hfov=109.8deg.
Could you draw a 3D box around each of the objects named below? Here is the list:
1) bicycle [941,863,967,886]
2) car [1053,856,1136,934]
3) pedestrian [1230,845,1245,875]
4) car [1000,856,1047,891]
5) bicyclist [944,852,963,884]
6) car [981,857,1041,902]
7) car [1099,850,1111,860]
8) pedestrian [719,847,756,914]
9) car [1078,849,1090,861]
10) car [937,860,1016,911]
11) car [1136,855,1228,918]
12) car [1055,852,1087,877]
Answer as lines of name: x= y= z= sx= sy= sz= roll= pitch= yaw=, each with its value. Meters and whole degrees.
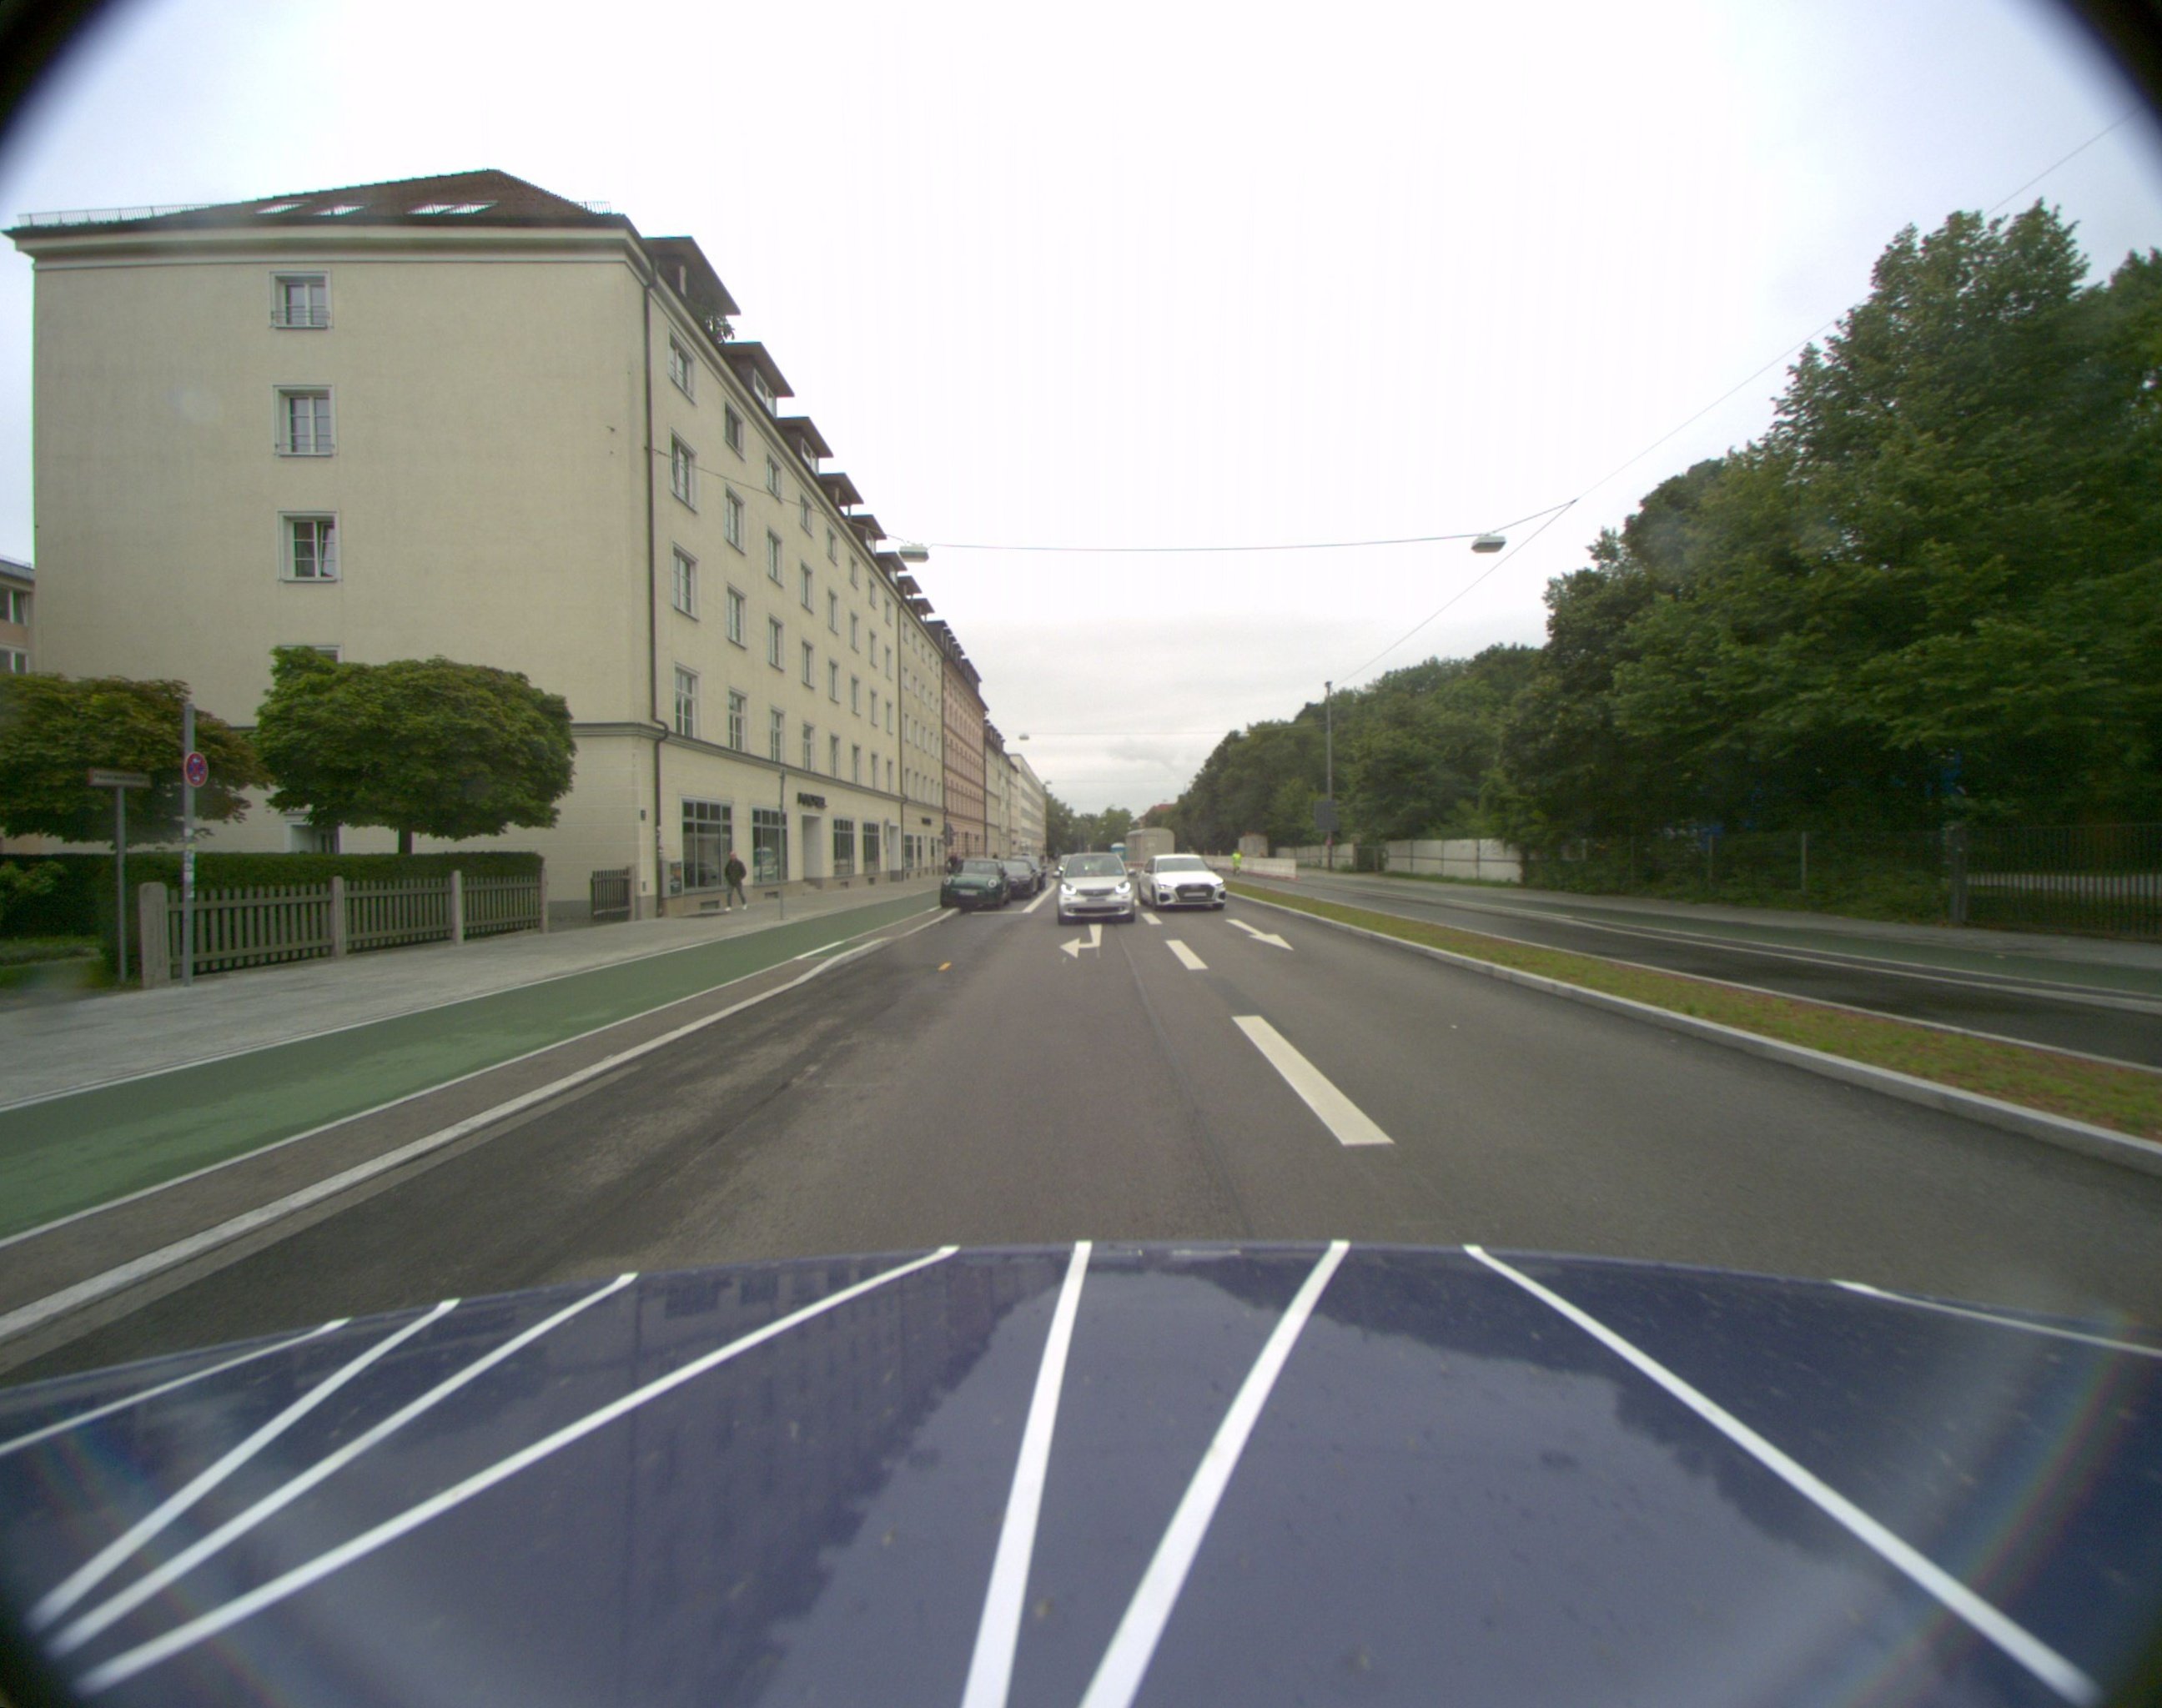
bicycle: x=-6.230 y=0.981 z=37.396 sx=0.751 sy=1.026 sz=2.531 roll=-2 pitch=0 yaw=0
car: x=0.294 y=0.825 z=17.238 sx=1.633 sy=1.495 sz=4.000 roll=-2 pitch=0 yaw=1
pedestrian: x=10.549 y=0.394 z=51.190 sx=0.757 sy=2.002 sz=0.867 roll=-2 pitch=1 yaw=1
car: x=-2.534 y=0.843 z=34.342 sx=1.739 sy=1.425 sz=4.000 roll=-2 pitch=0 yaw=1
bicyclist: x=-6.242 y=0.671 z=37.353 sx=0.724 sy=1.543 sz=0.858 roll=-2 pitch=1 yaw=0
car: x=-2.495 y=0.882 z=28.028 sx=1.739 sy=1.425 sz=4.000 roll=-2 pitch=0 yaw=1
car: x=3.539 y=0.157 z=113.840 sx=1.739 sy=1.425 sz=4.000 roll=-2 pitch=0 yaw=1
pedestrian: x=-9.788 y=0.744 z=21.674 sx=0.655 sy=1.863 sz=0.826 roll=0 pitch=1 yaw=1
car: x=0.533 y=0.118 z=134.414 sx=1.998 sy=2.002 sz=4.000 roll=-1 pitch=1 yaw=1
car: x=-3.050 y=0.882 z=22.857 sx=1.739 sy=1.313 sz=4.000 roll=-2 pitch=0 yaw=1
car: x=2.597 y=0.791 z=20.550 sx=1.818 sy=1.416 sz=4.451 roll=-2 pitch=0 yaw=-1
car: x=-0.632 y=0.626 z=49.373 sx=1.922 sy=1.433 sz=4.306 roll=-3 pitch=0 yaw=0
